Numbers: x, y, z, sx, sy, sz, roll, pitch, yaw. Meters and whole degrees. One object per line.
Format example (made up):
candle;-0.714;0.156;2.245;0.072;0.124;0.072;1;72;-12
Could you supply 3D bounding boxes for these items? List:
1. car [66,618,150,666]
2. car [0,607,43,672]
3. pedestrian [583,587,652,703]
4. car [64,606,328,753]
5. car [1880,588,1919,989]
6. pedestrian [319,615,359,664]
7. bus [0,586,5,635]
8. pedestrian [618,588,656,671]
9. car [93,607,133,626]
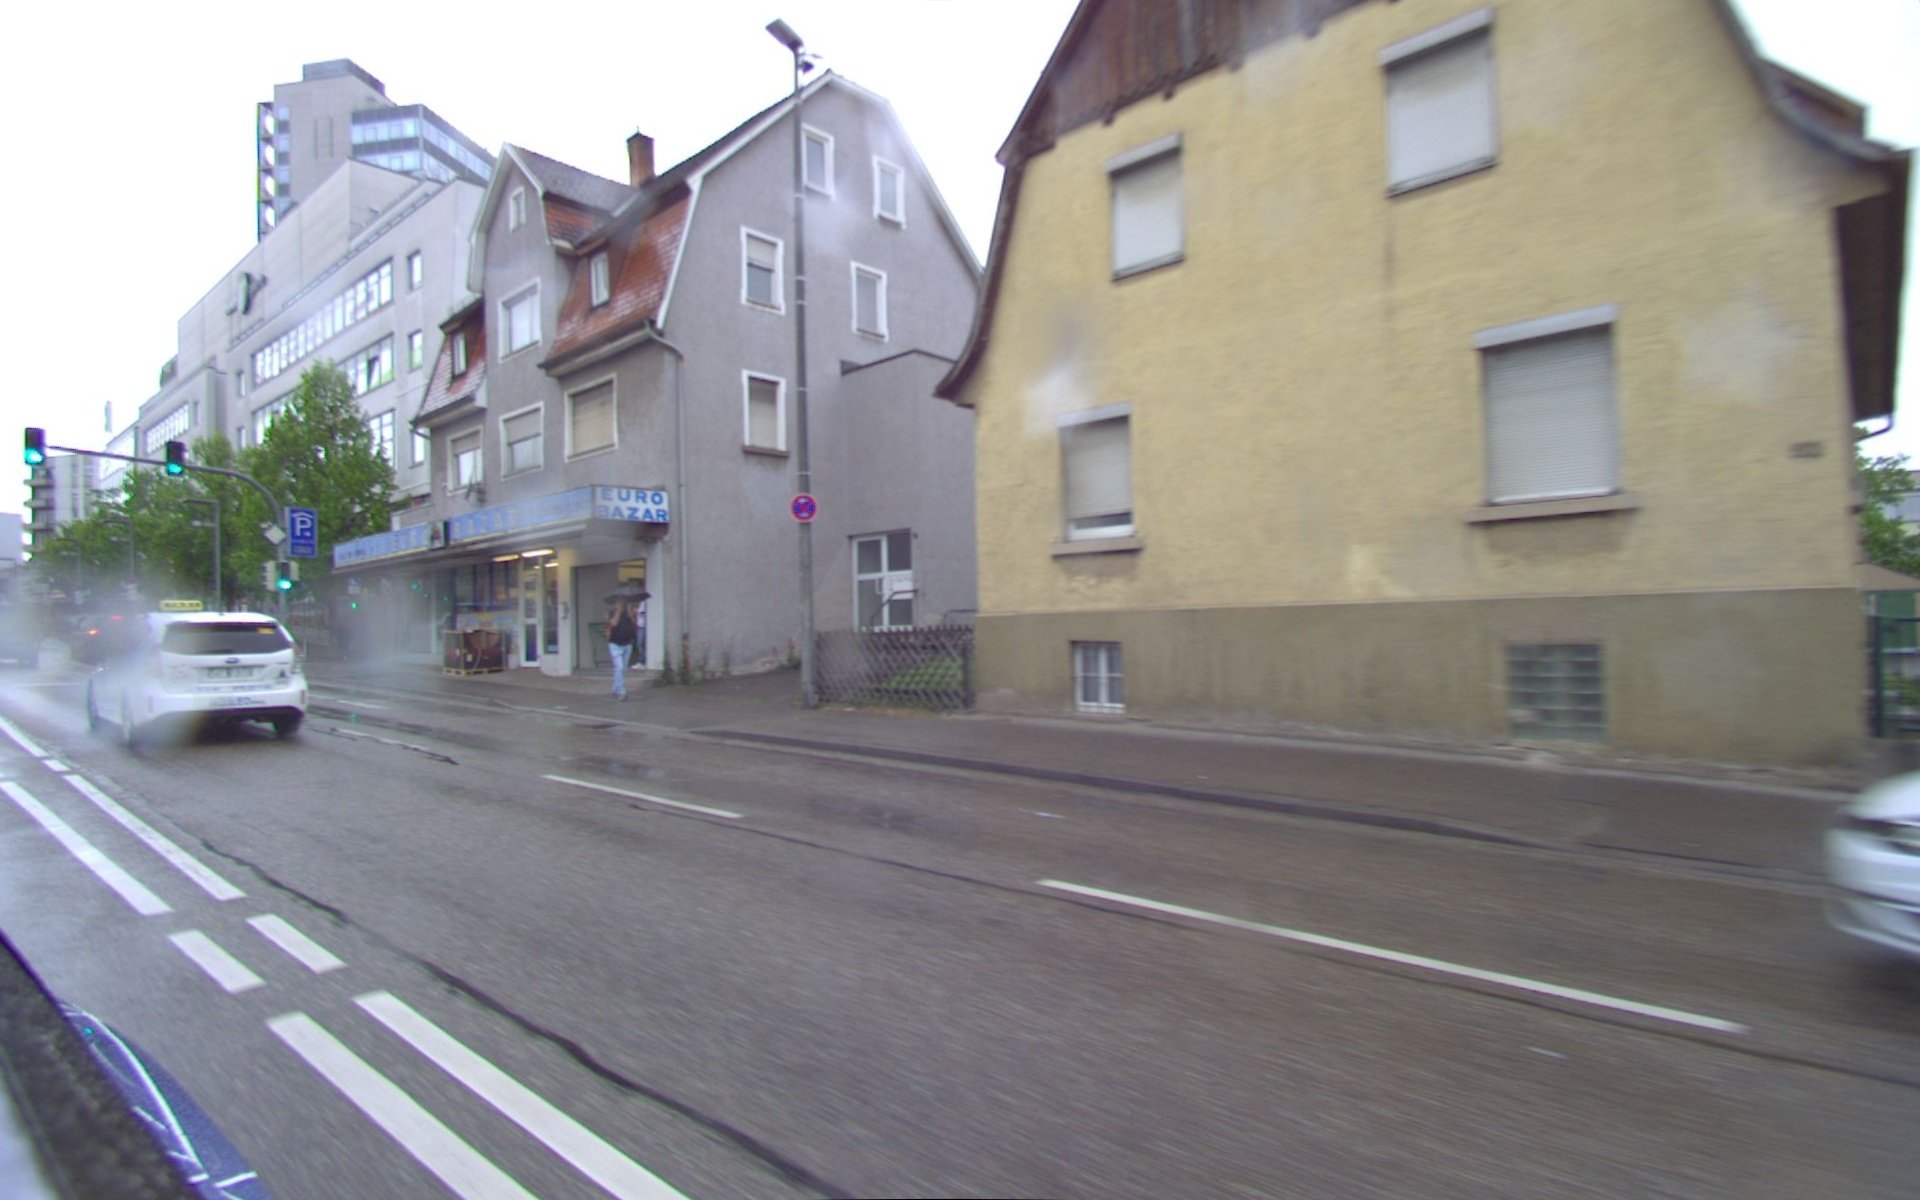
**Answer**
car;-32.152;1.528;38.138;4.950;1.630;1.978;-1;-1;45
car;-31.041;1.209;32.241;5.174;1.953;1.946;0;-1;39
pedestrian;-5.904;0.748;17.448;0.944;1.935;0.656;-1;1;34
car;-10.237;0.900;13.416;4.716;1.621;1.859;0;-1;41
car;5.453;0.704;2.898;4.138;1.428;1.631;0;-3;42
pedestrian;-23.343;1.481;38.056;1.233;1.802;0.916;0;-1;40
bus;-67.569;0.689;68.670;11.993;3.123;2.862;0;-1;41
pedestrian;-6.203;0.560;19.423;0.446;1.569;0.537;-1;-2;42
car;-63.621;1.248;75.990;3.729;1.421;1.734;0;-1;42
